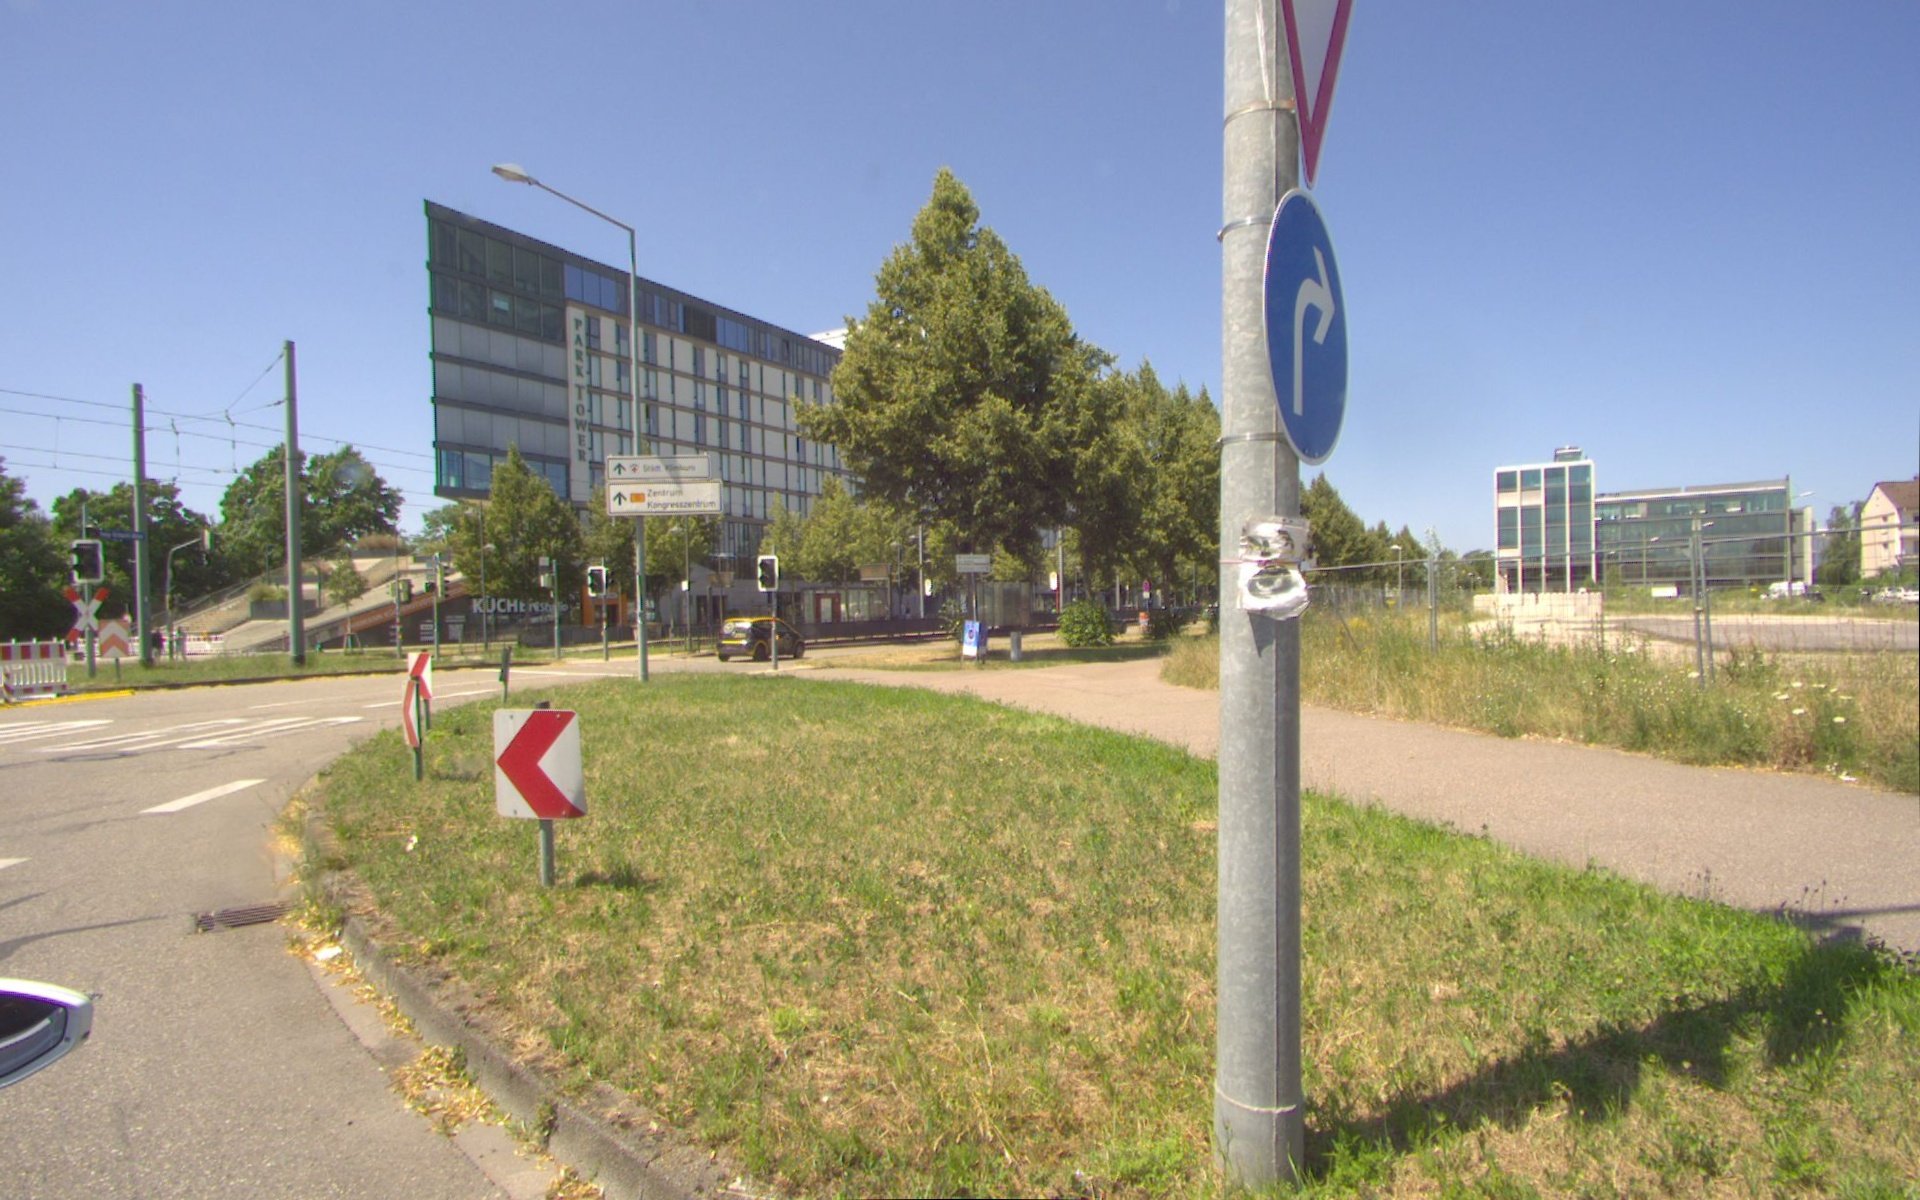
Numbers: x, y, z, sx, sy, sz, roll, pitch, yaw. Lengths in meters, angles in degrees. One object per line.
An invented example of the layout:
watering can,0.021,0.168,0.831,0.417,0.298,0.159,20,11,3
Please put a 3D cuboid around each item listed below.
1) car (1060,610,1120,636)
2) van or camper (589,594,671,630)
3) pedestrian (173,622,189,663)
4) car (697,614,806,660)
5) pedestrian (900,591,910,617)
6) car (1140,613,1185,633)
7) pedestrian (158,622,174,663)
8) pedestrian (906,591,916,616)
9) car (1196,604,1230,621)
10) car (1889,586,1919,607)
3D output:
car,7.521,1.323,57.673,1.969,1.467,4.633,-1,-2,27
van or camper,-27.225,0.967,82.989,2.346,2.859,6.761,-1,-1,27
pedestrian,-33.936,1.860,43.604,0.313,1.762,0.447,-1,0,29
car,-7.011,1.237,34.070,1.597,1.470,3.975,-1,-1,25
pedestrian,-3.907,0.290,71.000,0.404,1.775,0.584,-1,0,27
car,15.376,1.760,75.853,1.971,1.467,4.737,-1,-2,30
pedestrian,-34.164,1.819,43.106,0.287,1.762,0.447,-1,0,29
pedestrian,-3.505,0.275,71.529,0.404,1.775,0.584,-1,0,27
car,22.832,1.177,90.153,1.829,1.467,4.332,-1,-2,30
car,76.296,-0.258,80.300,1.654,1.606,3.610,-2,-2,26
